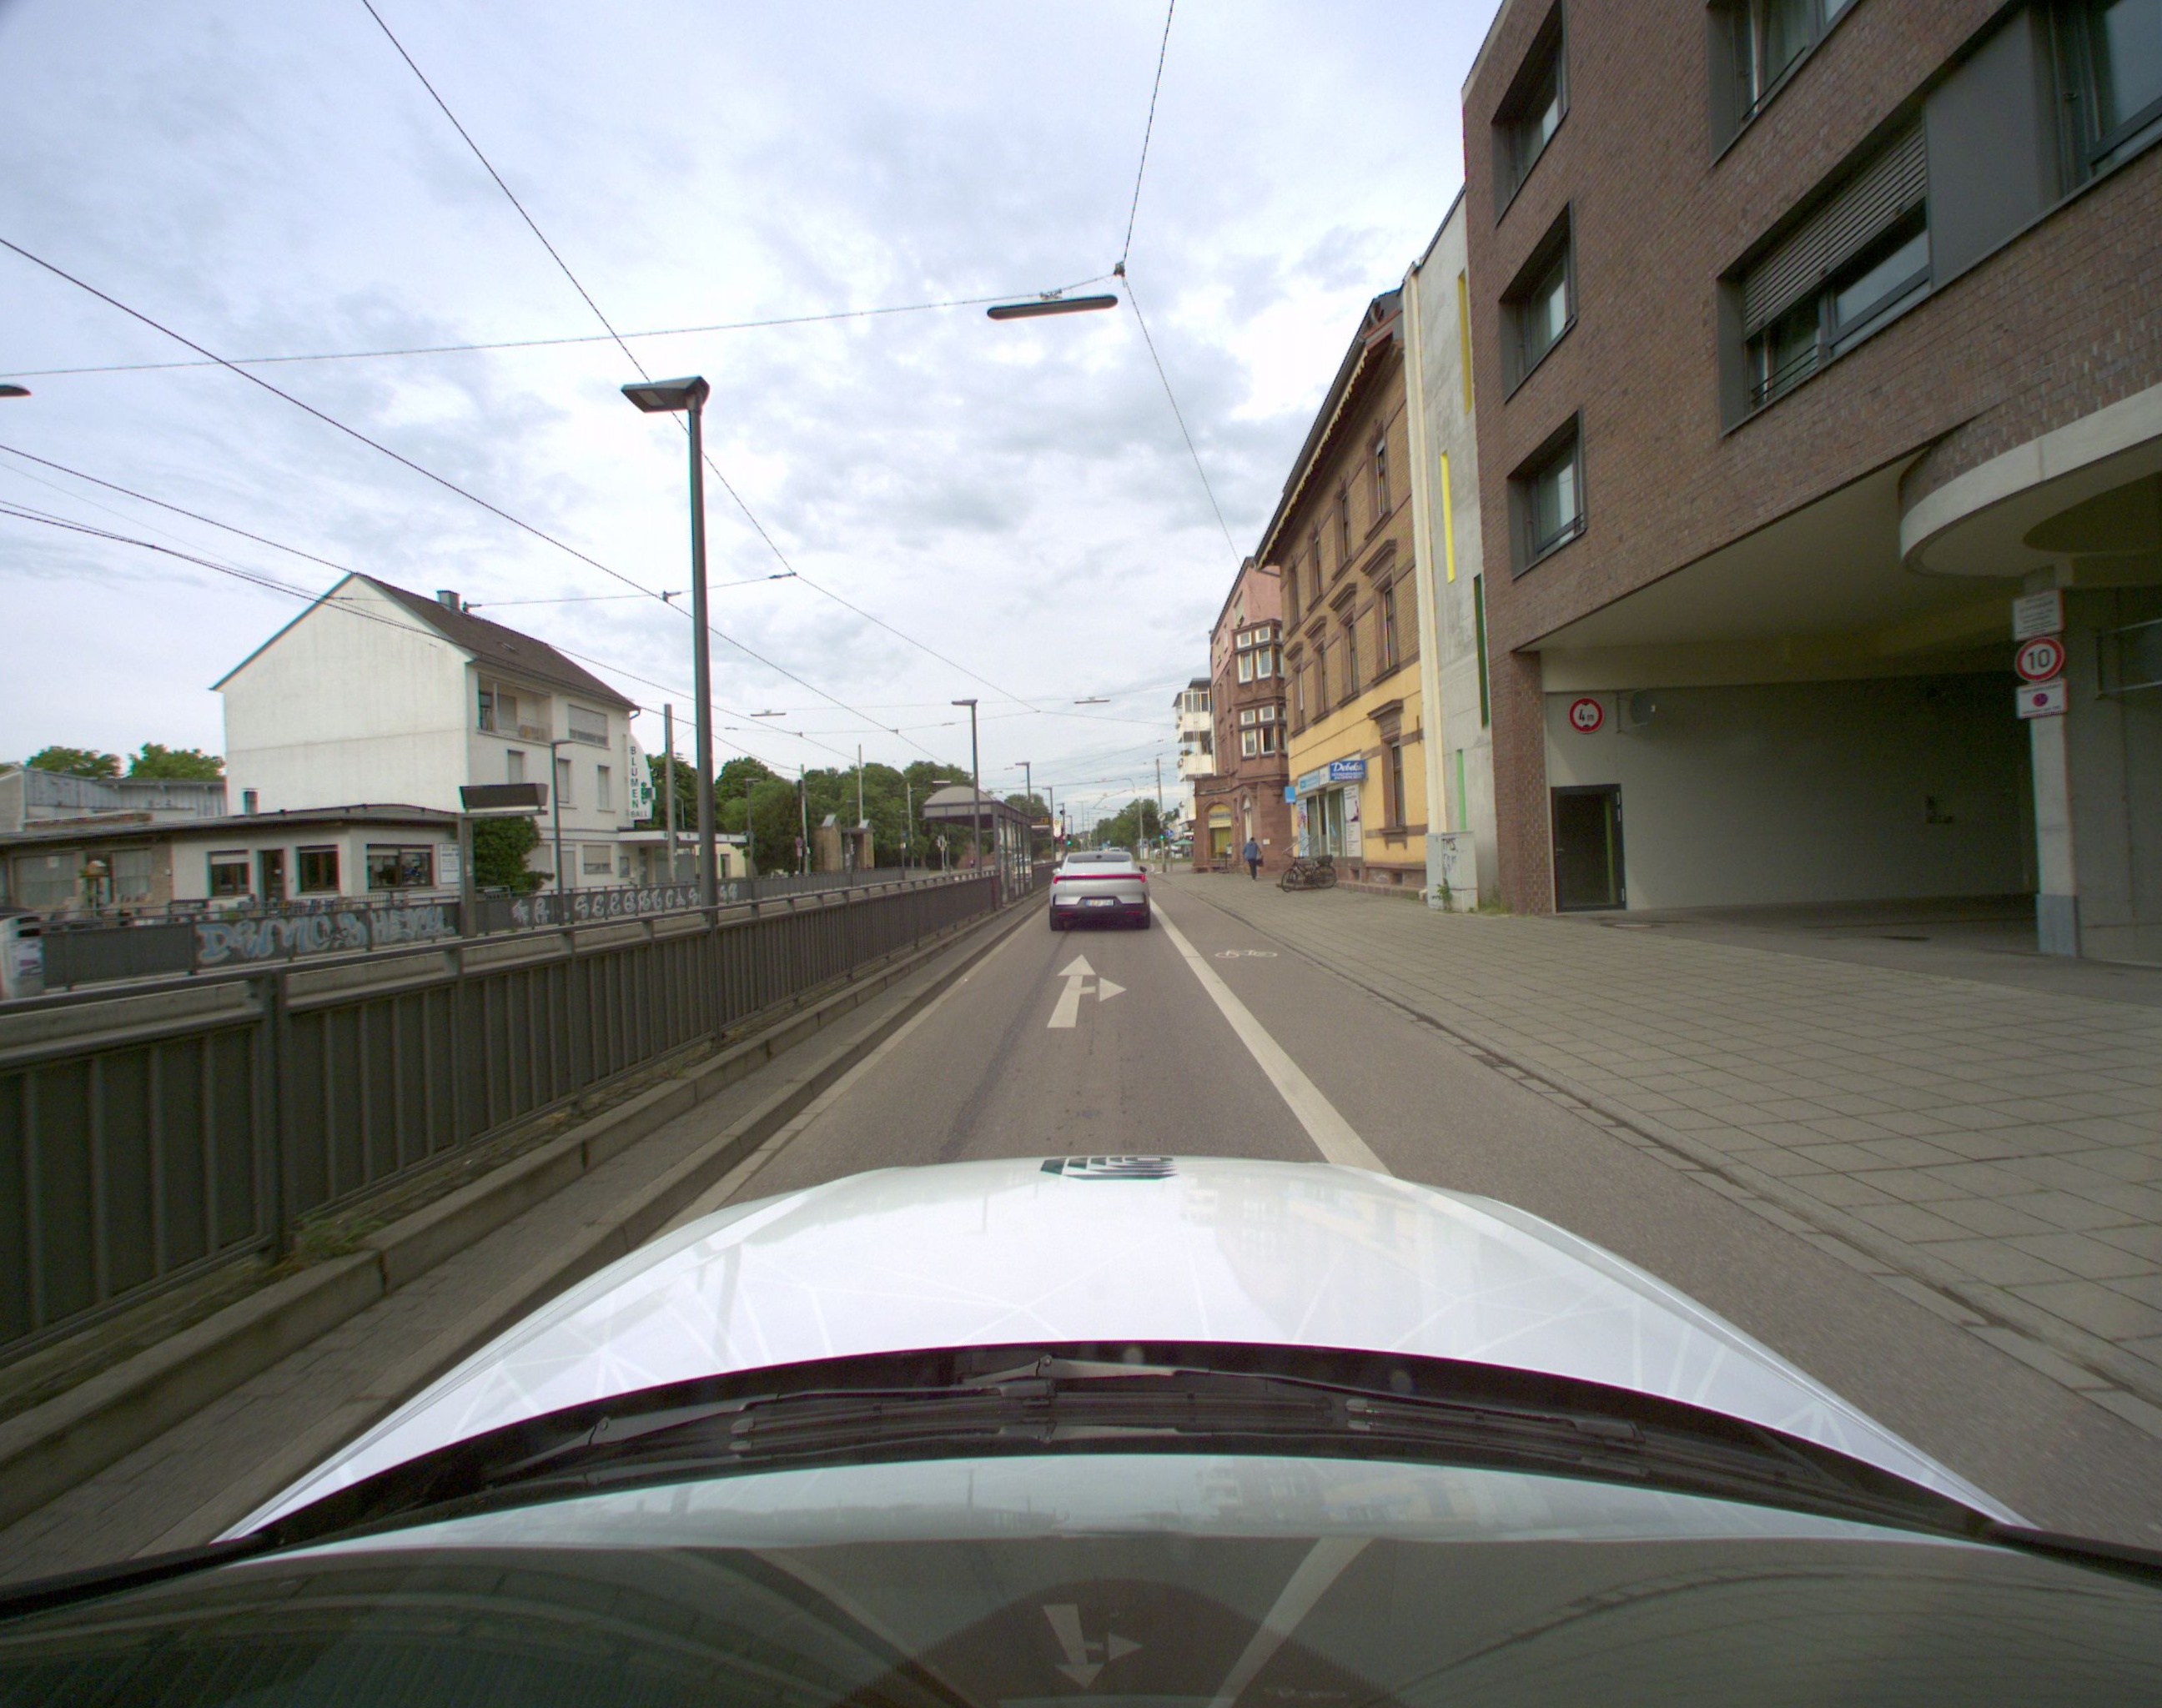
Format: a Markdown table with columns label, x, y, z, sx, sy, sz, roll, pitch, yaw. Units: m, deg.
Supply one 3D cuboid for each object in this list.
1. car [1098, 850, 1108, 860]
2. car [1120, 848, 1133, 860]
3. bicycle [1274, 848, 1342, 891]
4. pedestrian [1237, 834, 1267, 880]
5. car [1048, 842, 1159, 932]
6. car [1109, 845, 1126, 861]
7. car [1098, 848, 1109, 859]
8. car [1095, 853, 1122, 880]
| label | x | y | z | sx | sy | sz | roll | pitch | yaw |
| --- | --- | --- | --- | --- | --- | --- | --- | --- | --- |
| car | 5.033 | 0.201 | 185.769 | 1.986 | 2.013 | 4.002 | -2 | 0 | 2 |
| car | 10.291 | -0.052 | 183.453 | 2.796 | 2.505 | 5.725 | -2 | -1 | 2 |
| bicycle | 6.790 | 0.450 | 24.399 | 1.771 | 1.129 | 0.642 | -5 | 0 | 0 |
| pedestrian | 7.142 | 0.118 | 34.122 | 0.957 | 1.850 | 0.976 | -5 | 0 | 2 |
| car | 0.336 | 0.625 | 16.810 | 1.994 | 1.581 | 3.996 | -1 | -1 | -2 |
| car | 5.568 | -0.128 | 125.842 | 2.220 | 2.402 | 5.119 | -1 | -1 | -2 |
| car | 4.421 | -0.070 | 160.436 | 1.986 | 2.013 | 4.002 | -2 | 0 | 2 |
| car | 1.778 | 0.800 | 52.543 | 1.674 | 1.687 | 3.825 | -2 | -1 | 2 |
